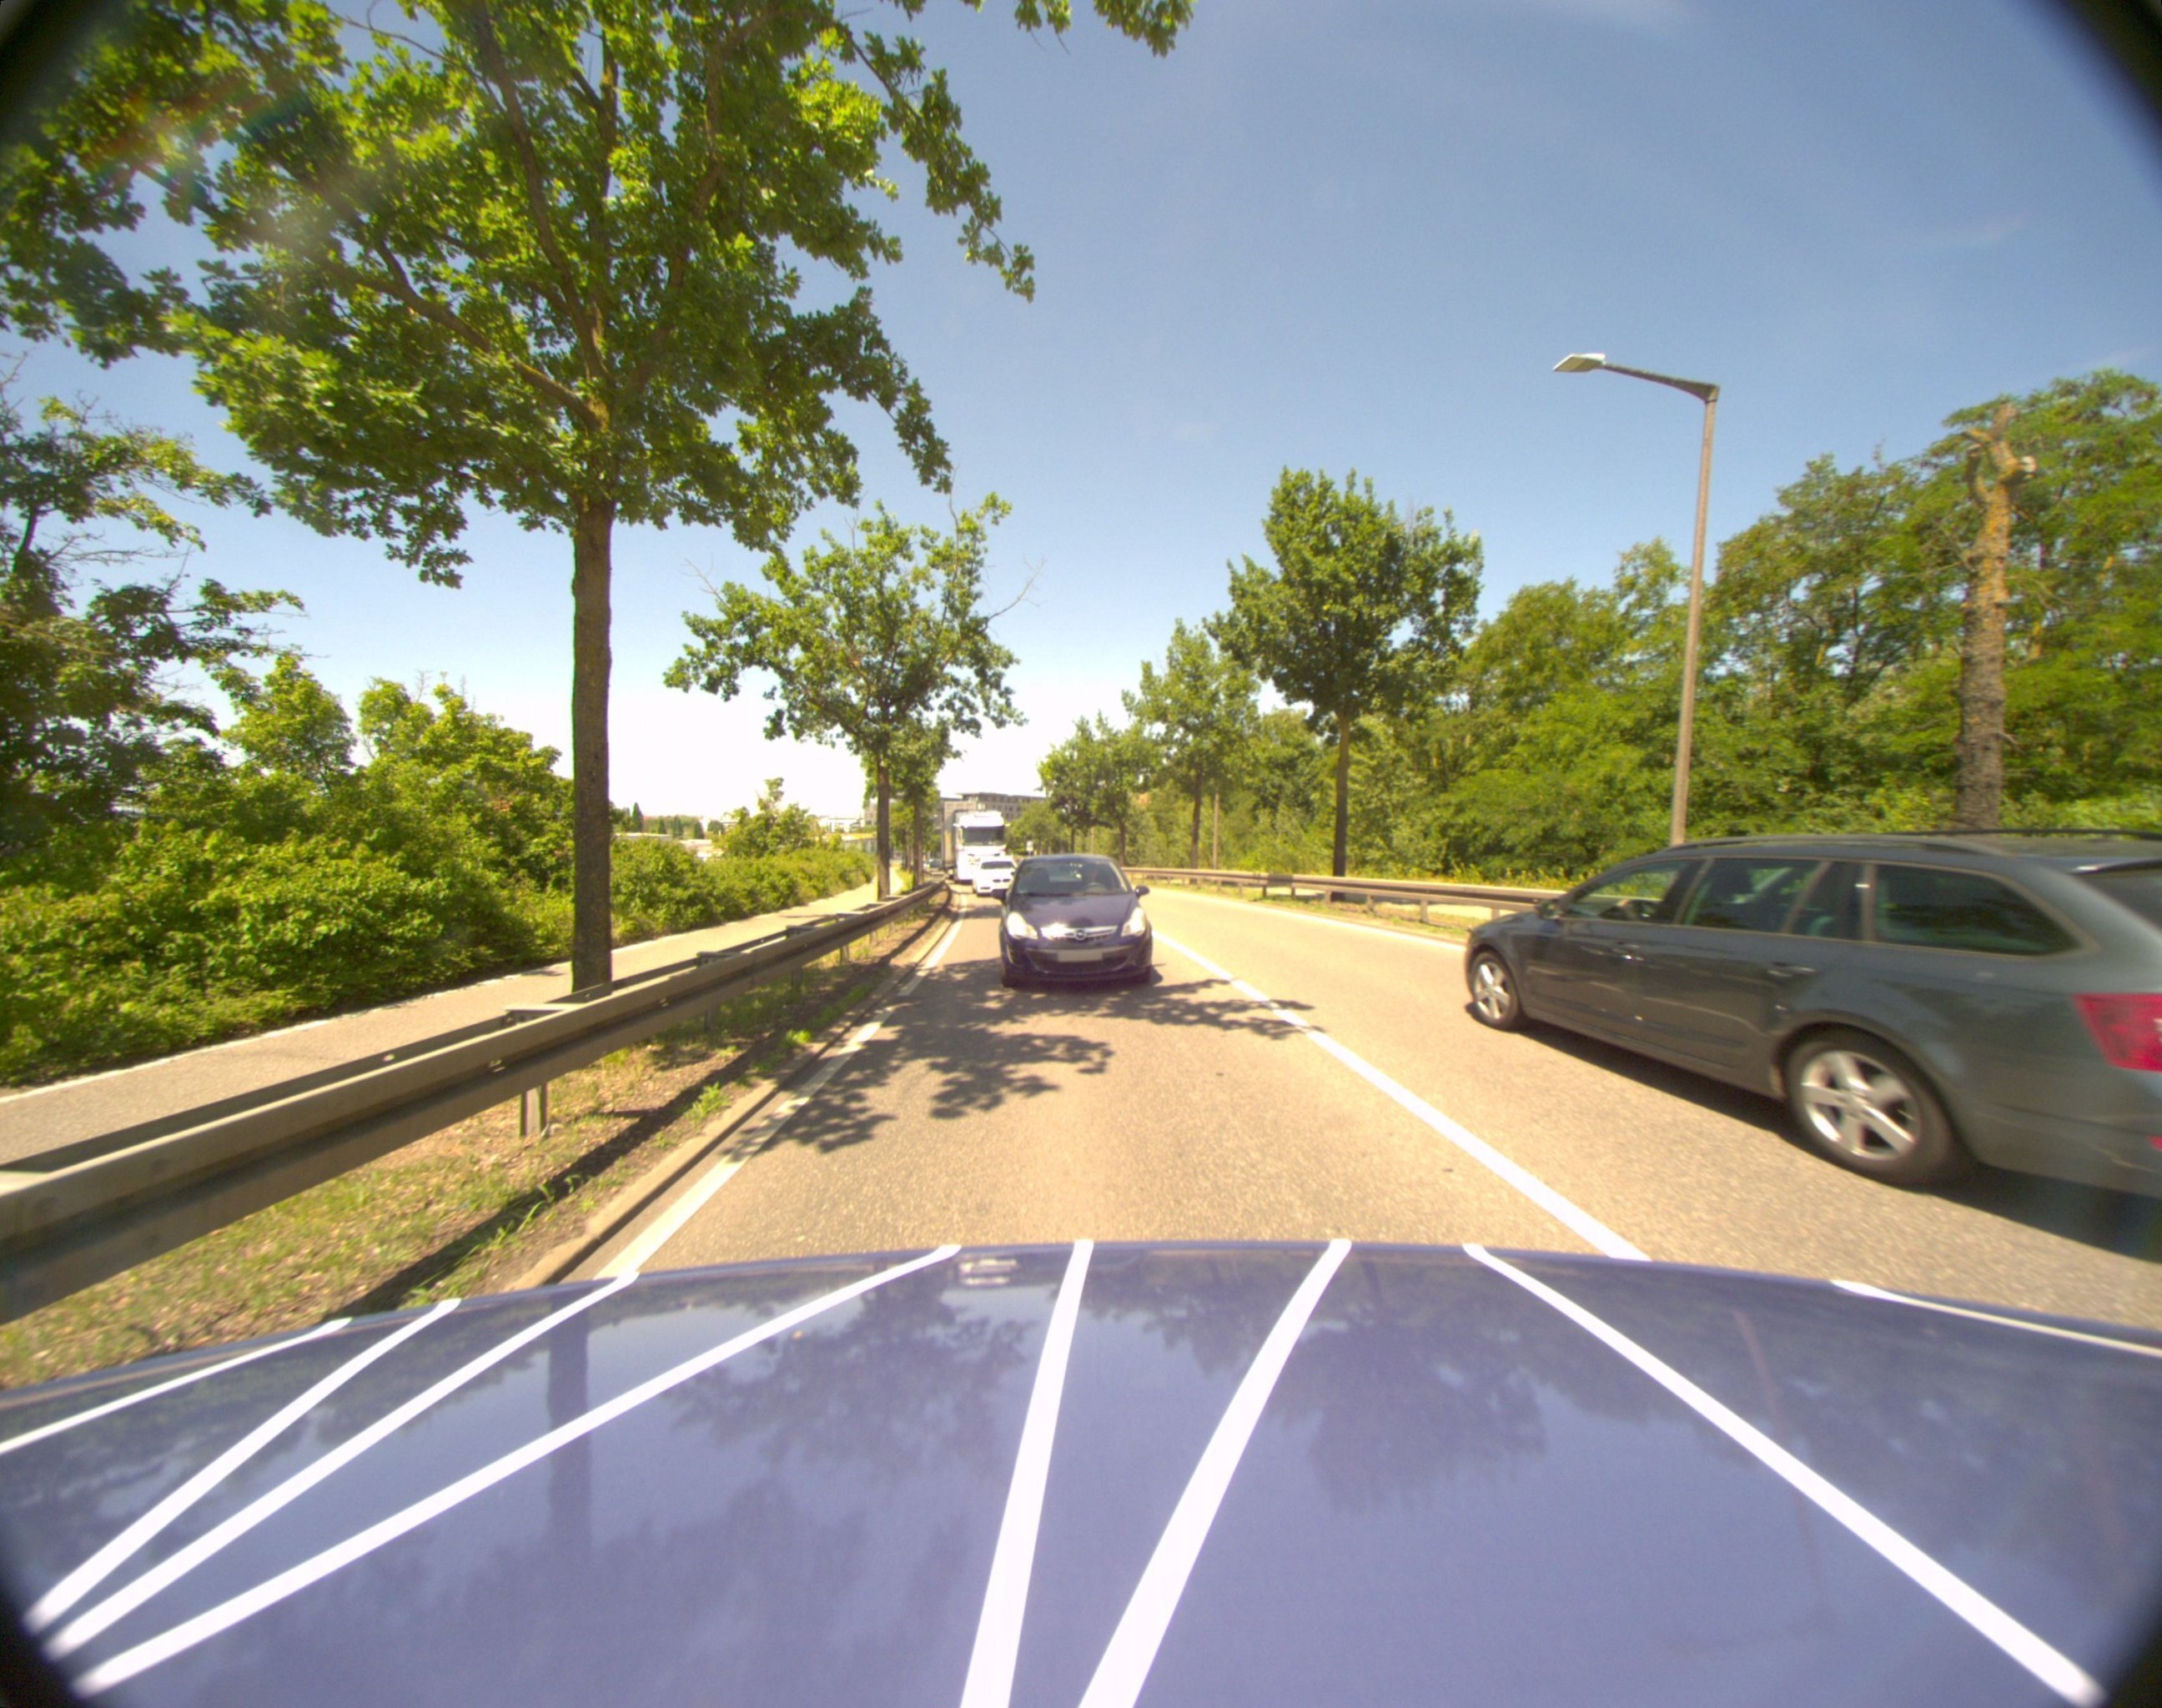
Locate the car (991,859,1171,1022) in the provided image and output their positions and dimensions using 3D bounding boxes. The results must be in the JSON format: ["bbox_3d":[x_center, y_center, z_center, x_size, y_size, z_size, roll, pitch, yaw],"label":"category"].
[{"bbox_3d":[-0.171,0.838,9.497,1.699,1.459,4.381,-2,0,-5],"label":"car"}]

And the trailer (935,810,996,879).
[{"bbox_3d":[-8.451,-0.591,53.812,2.884,4.189,13.990,-2,0,-14],"label":"trailer"}]

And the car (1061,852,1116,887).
[{"bbox_3d":[0.263,0.667,34.355,1.730,1.430,4.020,-2,1,-10],"label":"car"}]

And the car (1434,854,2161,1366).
[{"bbox_3d":[3.988,0.761,4.290,1.749,1.439,4.515,-1,0,-2],"label":"car"}]

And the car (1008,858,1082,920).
[{"bbox_3d":[-1.055,0.852,20.258,1.570,1.408,4.119,-2,0,-8],"label":"car"}]

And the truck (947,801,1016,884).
[{"bbox_3d":[-5.934,-0.612,43.852,2.861,4.244,8.804,-2,1,-14],"label":"truck"}]

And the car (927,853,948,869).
[{"bbox_3d":[-14.952,0.680,79.143,1.977,1.567,3.996,-2,0,-11],"label":"car"}]

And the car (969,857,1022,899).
[{"bbox_3d":[-3.238,0.848,28.789,1.817,1.420,3.713,-2,0,-7],"label":"car"}]

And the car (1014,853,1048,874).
[{"bbox_3d":[-3.653,0.676,54.333,1.883,1.372,4.665,-2,1,-10],"label":"car"}]
